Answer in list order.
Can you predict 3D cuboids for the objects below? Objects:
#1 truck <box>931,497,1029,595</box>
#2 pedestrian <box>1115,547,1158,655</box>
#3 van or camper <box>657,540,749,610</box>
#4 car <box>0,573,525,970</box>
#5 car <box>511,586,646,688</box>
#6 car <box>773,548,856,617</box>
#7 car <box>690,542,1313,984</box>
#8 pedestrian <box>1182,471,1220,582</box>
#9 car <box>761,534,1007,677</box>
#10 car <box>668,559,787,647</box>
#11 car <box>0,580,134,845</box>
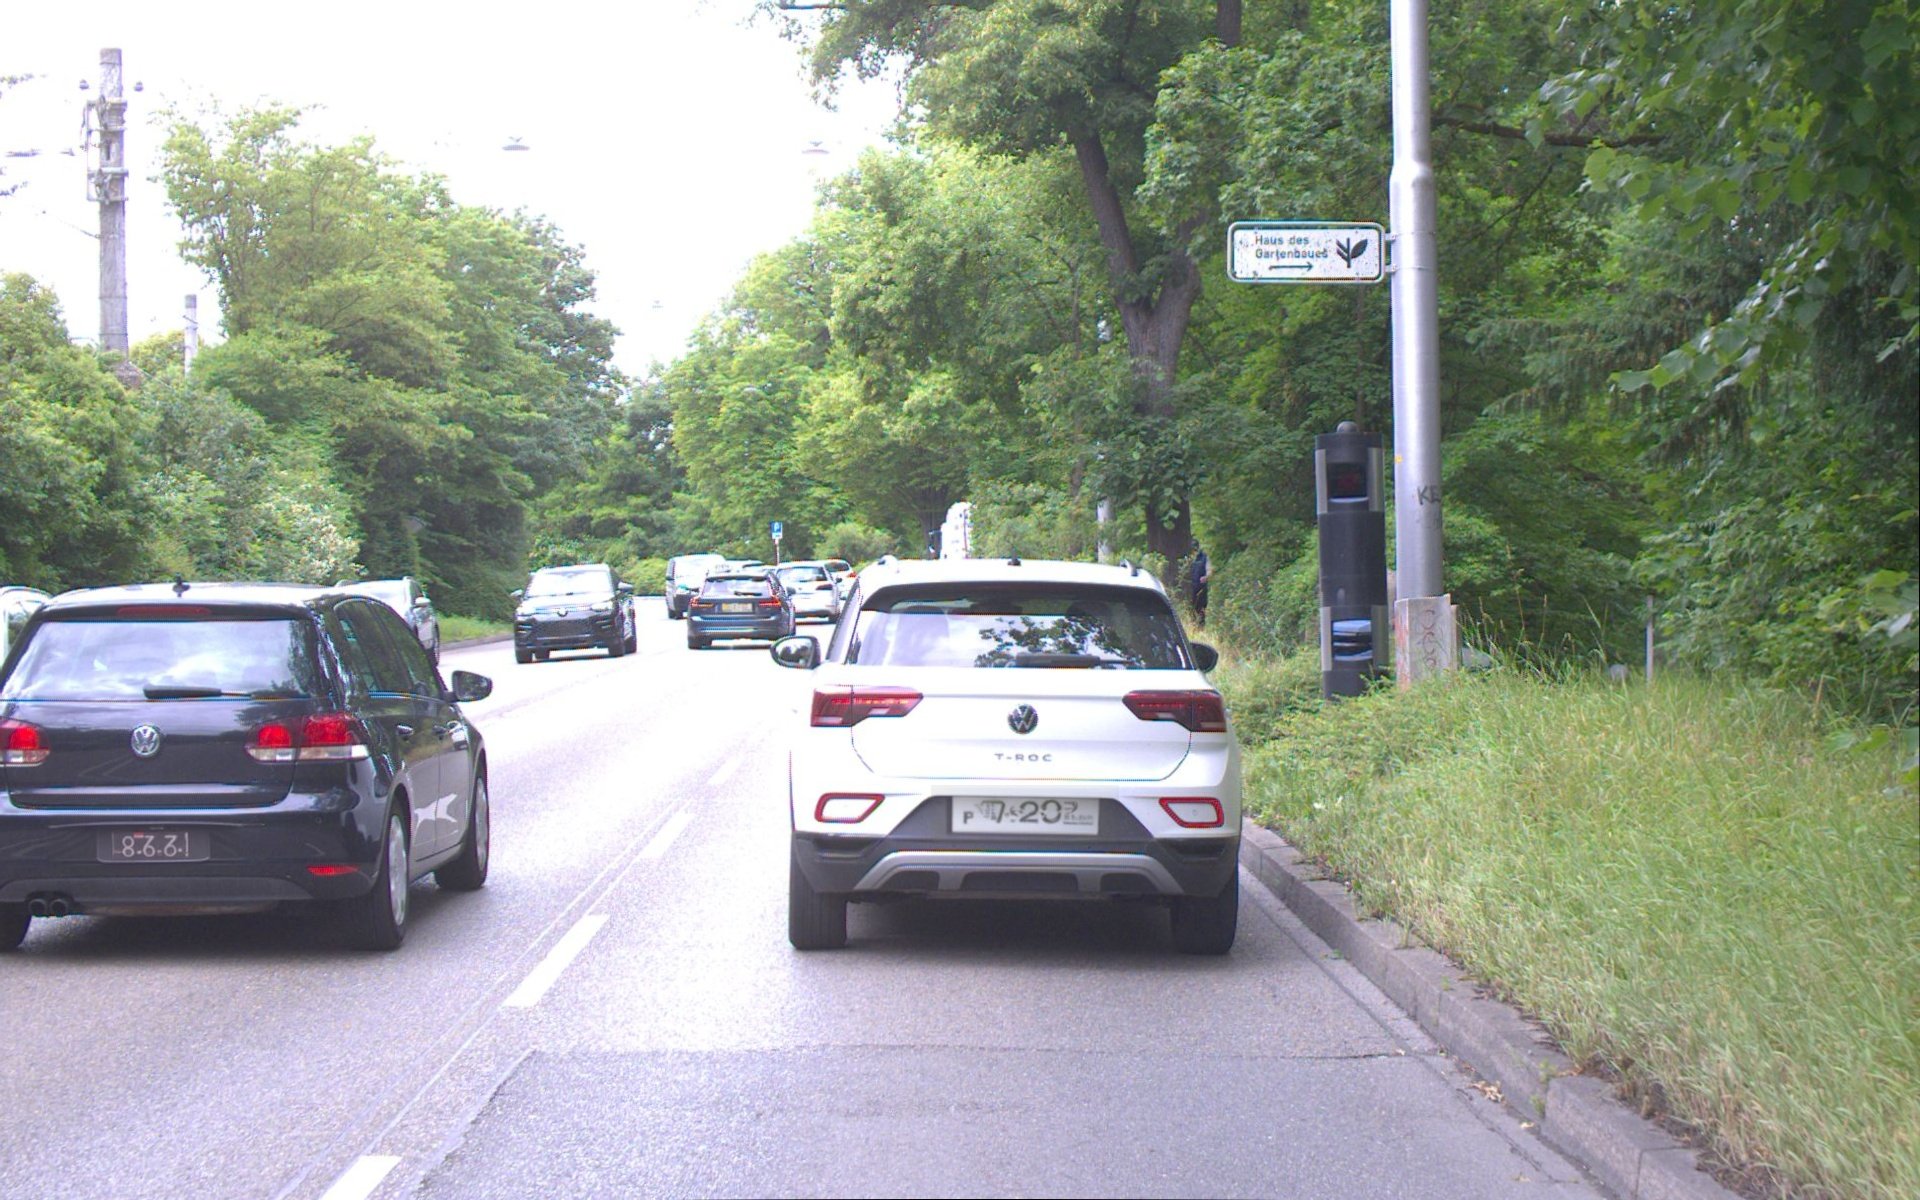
[{"bbox_3d":[0.607,-1.780,115.078,2.481,3.171,7.230,0,0,-6],"label":"truck"},{"bbox_3d":[2.786,0.018,54.268,0.608,1.692,0.549,0,0,-4],"label":"pedestrian"},{"bbox_3d":[-8.212,-0.779,109.349,1.993,2.007,5.370,-4,0,-13],"label":"van or camper"},{"bbox_3d":[-3.070,0.625,14.729,1.949,1.461,4.000,0,0,-1],"label":"car"},{"bbox_3d":[-6.678,0.687,60.578,1.810,1.656,4.830,-2,-1,0],"label":"car"},{"bbox_3d":[-3.506,-0.418,83.494,1.821,1.617,4.000,0,0,0],"label":"car"},{"bbox_3d":[0.009,0.579,14.496,2.000,1.590,4.001,0,0,-9],"label":"car"},{"bbox_3d":[3.818,-1.163,54.560,0.519,1.747,0.525,0,0,-4],"label":"pedestrian"},{"bbox_3d":[-1.061,0.045,45.478,1.851,1.697,4.001,-4,2,-22],"label":"car"},{"bbox_3d":[-4.290,0.043,63.965,1.993,1.587,4.000,0,0,-1],"label":"car"},{"bbox_3d":[-6.253,0.669,19.917,1.839,1.460,4.466,-3,0,-1],"label":"car"}]
